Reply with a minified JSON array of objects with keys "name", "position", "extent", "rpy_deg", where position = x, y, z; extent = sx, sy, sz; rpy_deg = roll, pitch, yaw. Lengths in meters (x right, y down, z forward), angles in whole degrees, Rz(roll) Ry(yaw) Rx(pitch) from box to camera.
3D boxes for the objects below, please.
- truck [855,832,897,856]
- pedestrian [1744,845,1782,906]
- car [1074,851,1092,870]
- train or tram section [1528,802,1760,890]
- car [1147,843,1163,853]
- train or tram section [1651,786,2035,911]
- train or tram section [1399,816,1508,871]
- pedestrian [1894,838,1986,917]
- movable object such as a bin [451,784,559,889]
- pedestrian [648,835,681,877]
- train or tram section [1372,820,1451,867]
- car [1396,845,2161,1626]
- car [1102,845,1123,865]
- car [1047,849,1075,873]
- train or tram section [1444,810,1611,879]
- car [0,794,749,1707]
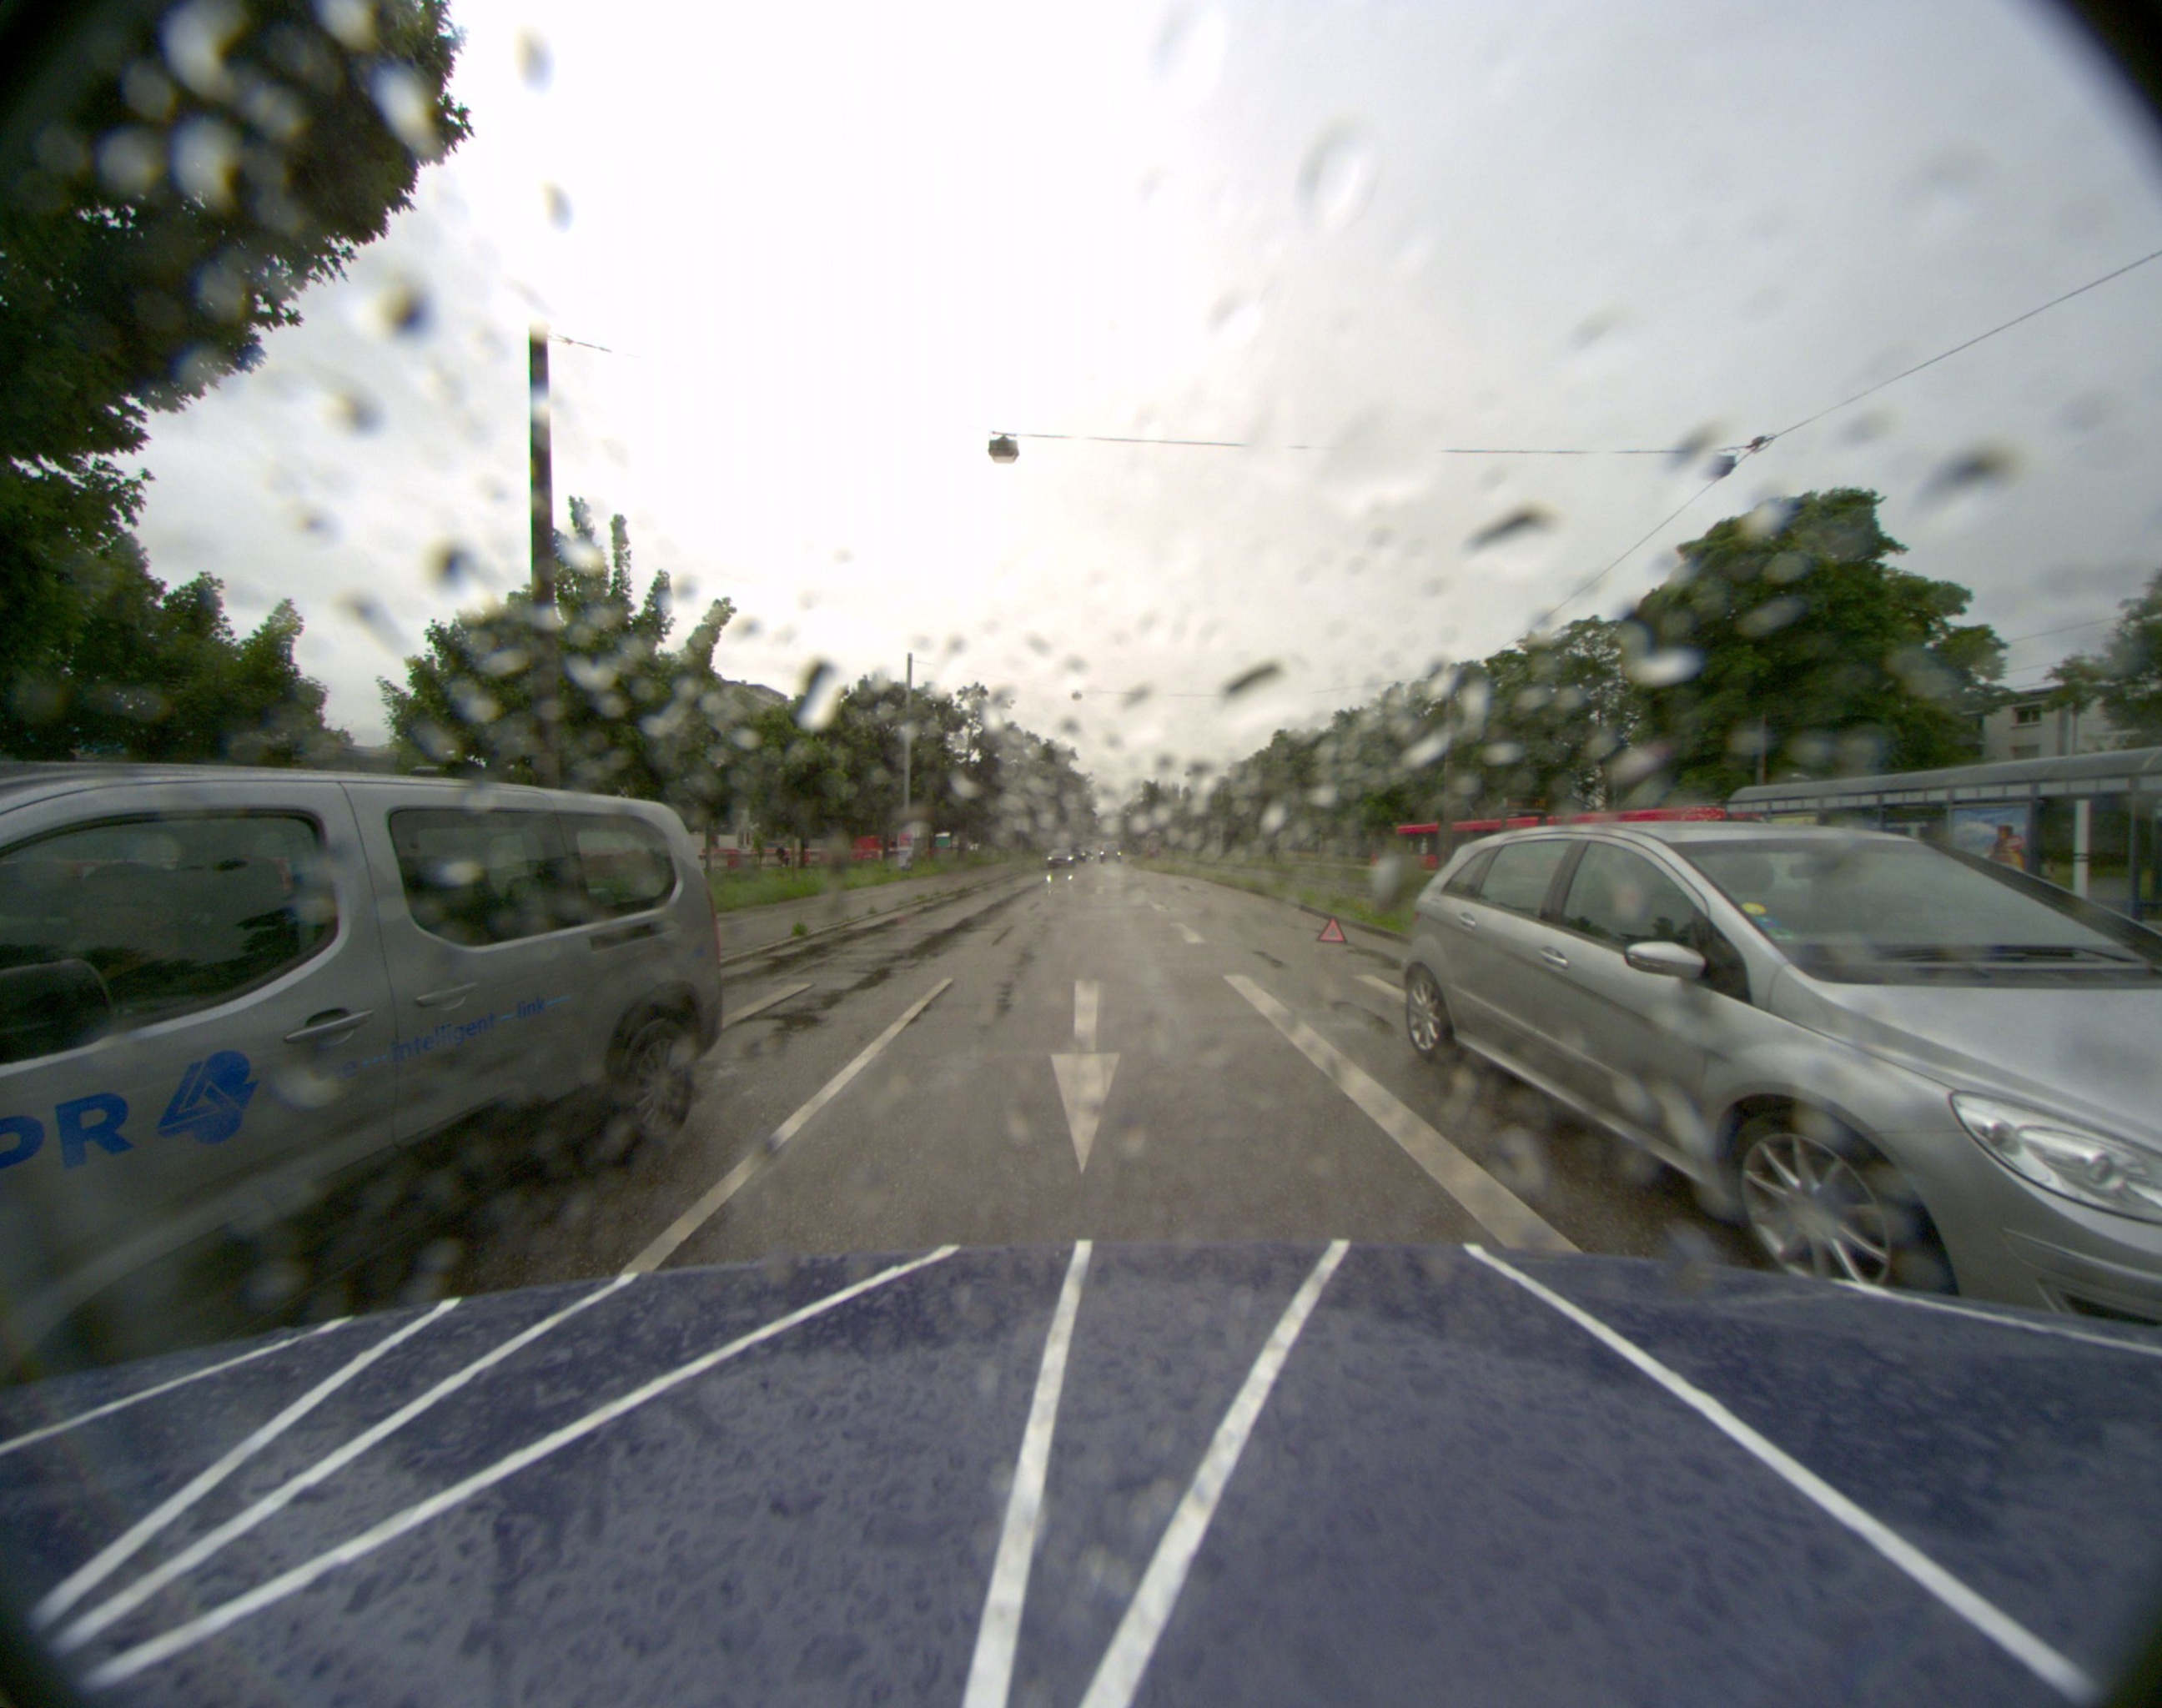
[{"name":"truck","position":[-25.909,-1.313,96.368],"extent":[2.811,2.883,8.748],"rpy_deg":[-2,2,0]},{"name":"pedestrian","position":[18.007,0.560,20.069],"extent":[0.522,1.553,0.602],"rpy_deg":[-1,2,15]},{"name":"car","position":[0.168,0.606,74.164],"extent":[1.651,1.652,3.775],"rpy_deg":[-2,2,-1]},{"name":"train or tram section","position":[24.372,-0.387,33.863],"extent":[3.541,3.371,9.277],"rpy_deg":[0,1,2]},{"name":"car","position":[10.229,-0.815,105.660],"extent":[1.684,1.353,4.250],"rpy_deg":[2,1,-1]},{"name":"train or tram section","position":[24.153,-0.240,25.286],"extent":[3.541,3.370,9.277],"rpy_deg":[0,1,2]},{"name":"train or tram section","position":[24.827,-0.701,51.200],"extent":[3.541,3.393,7.902],"rpy_deg":[0,1,2]},{"name":"pedestrian","position":[17.798,0.473,15.766],"extent":[0.806,1.588,0.929],"rpy_deg":[0,2,4]},{"name":"movable object such as a bin","position":[-25.747,-0.792,34.164],"extent":[1.557,4.401,3.908],"rpy_deg":[-1,2,3]},{"name":"pedestrian","position":[-19.689,0.077,35.975],"extent":[0.814,1.925,1.212],"rpy_deg":[-2,2,0]},{"name":"train or tram section","position":[24.993,-0.806,57.854],"extent":[3.541,3.398,5.769],"rpy_deg":[0,1,2]},{"name":"car","position":[3.086,0.755,3.392],"extent":[1.740,1.535,4.012],"rpy_deg":[-1,1,1]},{"name":"car","position":[2.867,0.048,69.560],"extent":[1.812,1.683,3.776],"rpy_deg":[-1,2,1]},{"name":"car","position":[-1.395,0.466,54.397],"extent":[1.858,1.583,3.999],"rpy_deg":[-2,2,0]},{"name":"train or tram section","position":[24.610,-0.546,42.851],"extent":[3.541,3.381,10.260],"rpy_deg":[0,1,2]},{"name":"car","position":[-3.113,0.773,2.432],"extent":[1.998,1.785,4.561],"rpy_deg":[-1,1,1]}]
